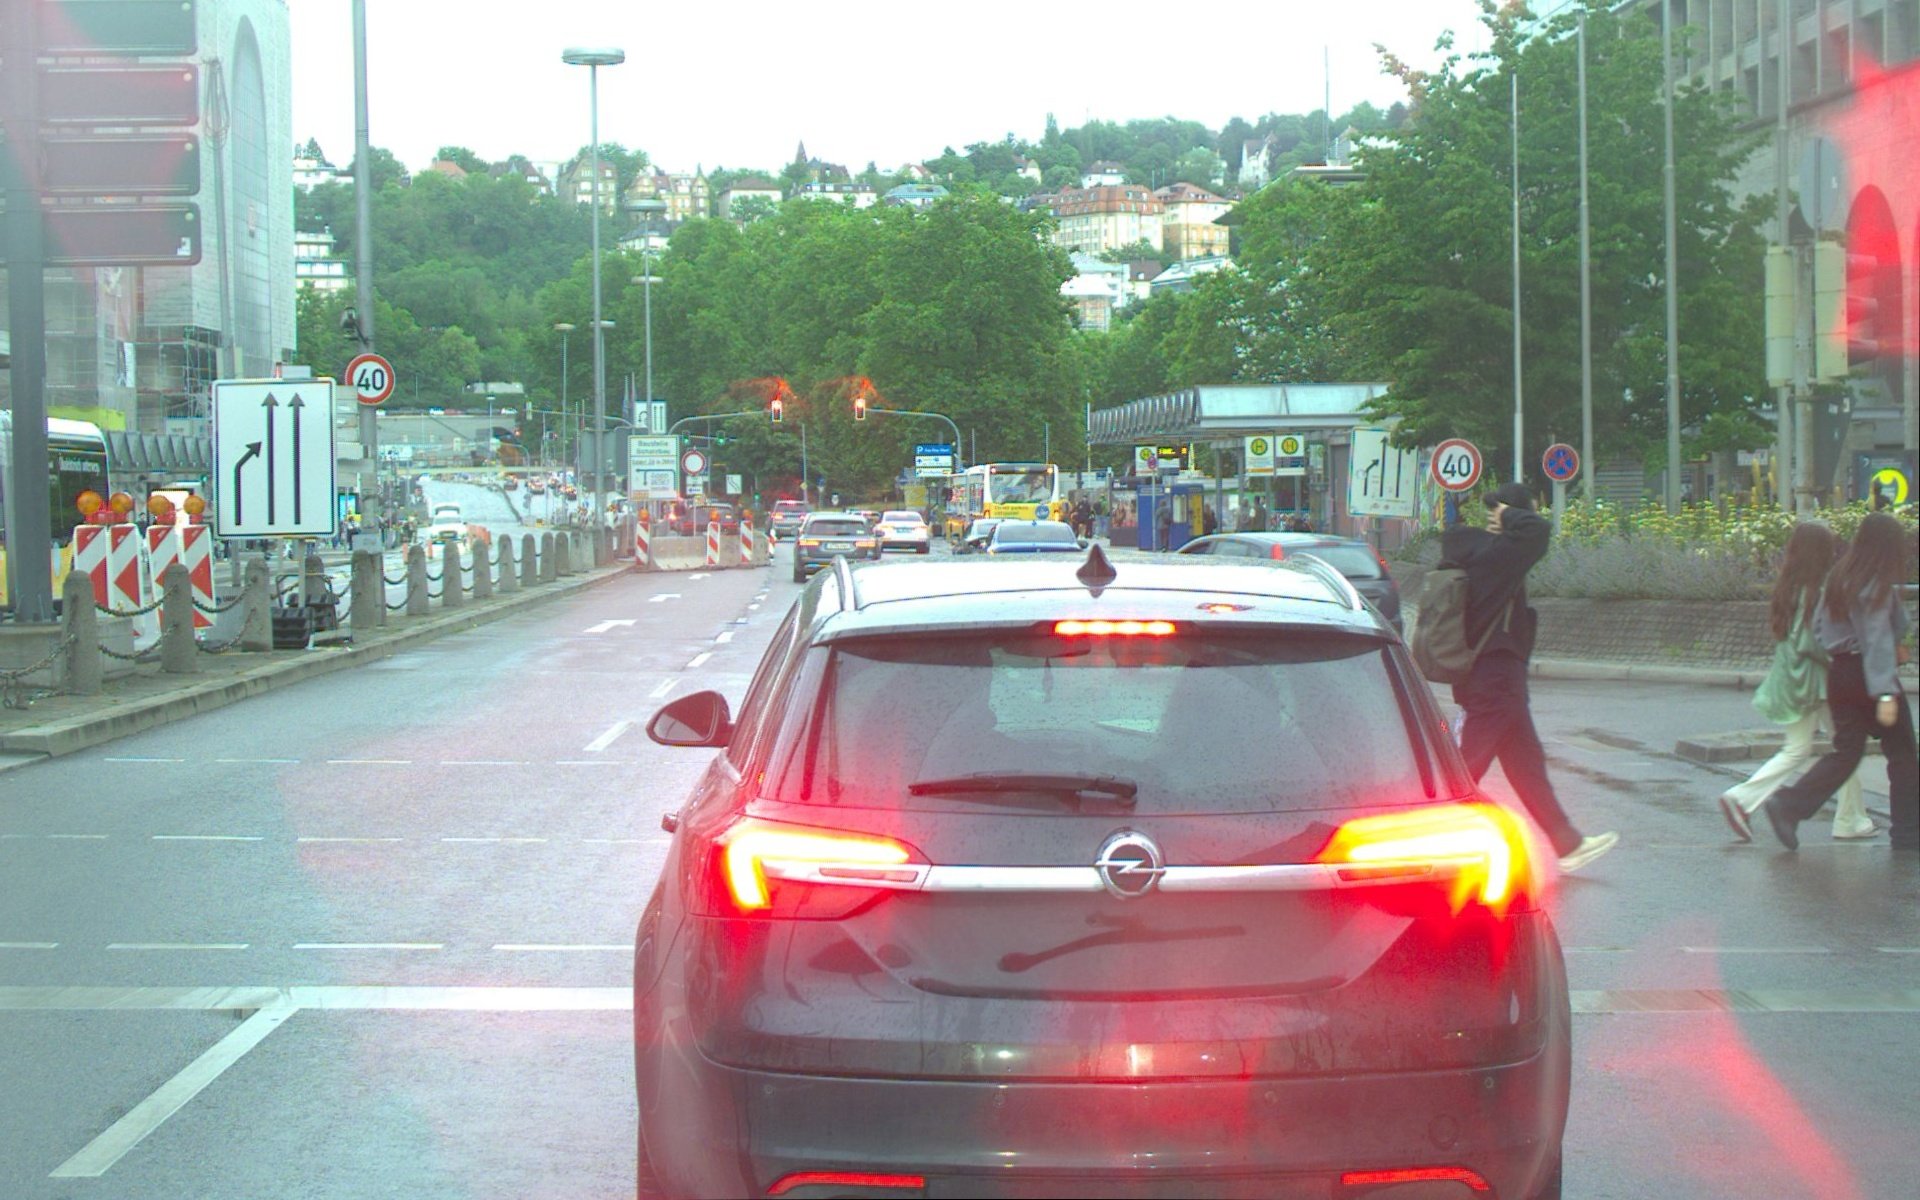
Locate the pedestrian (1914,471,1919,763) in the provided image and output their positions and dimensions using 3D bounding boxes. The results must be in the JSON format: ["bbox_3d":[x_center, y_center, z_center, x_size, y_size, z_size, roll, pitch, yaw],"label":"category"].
[{"bbox_3d":[6.018,0.105,20.004,0.755,1.712,0.466,1,1,-4],"label":"pedestrian"}]

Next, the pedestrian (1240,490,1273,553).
[{"bbox_3d":[8.130,-2.149,94.233,0.763,1.684,0.825,1,1,-5],"label":"pedestrian"}]

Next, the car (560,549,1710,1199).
[{"bbox_3d":[0.248,0.644,7.649,1.874,1.481,4.000,1,1,-1],"label":"car"}]

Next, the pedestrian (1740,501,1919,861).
[{"bbox_3d":[4.162,0.361,15.986,0.793,1.620,0.900,1,1,-4],"label":"pedestrian"}]

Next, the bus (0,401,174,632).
[{"bbox_3d":[-15.855,-1.383,58.536,2.668,3.589,10.212,1,1,-1],"label":"bus"}]

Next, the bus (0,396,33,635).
[{"bbox_3d":[-15.727,-1.248,48.351,2.668,3.589,10.240,1,1,-1],"label":"bus"}]

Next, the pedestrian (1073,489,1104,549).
[{"bbox_3d":[5.240,-3.296,140.177,1.199,2.427,1.228,1,1,1],"label":"pedestrian"}]

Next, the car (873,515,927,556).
[{"bbox_3d":[-2.083,-2.242,119.576,1.845,1.393,3.564,1,1,-1],"label":"car"}]

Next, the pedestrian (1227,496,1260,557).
[{"bbox_3d":[7.857,-2.035,95.367,0.763,1.684,0.825,1,1,-5],"label":"pedestrian"}]

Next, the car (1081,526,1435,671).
[{"bbox_3d":[2.968,-0.044,34.969,1.845,1.393,3.667,1,1,-29],"label":"car"}]

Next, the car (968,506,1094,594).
[{"bbox_3d":[1.157,-0.844,57.924,1.753,1.393,4.649,1,1,-3],"label":"car"}]

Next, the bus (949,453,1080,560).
[{"bbox_3d":[1.778,-3.188,120.877,4.173,3.457,14.655,1,1,-1],"label":"bus"}]

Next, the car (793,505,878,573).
[{"bbox_3d":[-2.667,-1.297,73.906,1.753,1.393,4.538,1,1,-2],"label":"car"}]

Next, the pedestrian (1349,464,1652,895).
[{"bbox_3d":[2.281,0.326,14.584,1.096,1.745,0.654,-2,1,-3],"label":"pedestrian"}]

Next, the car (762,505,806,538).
[{"bbox_3d":[-7.685,-3.416,149.970,1.759,1.393,3.564,1,1,-1],"label":"car"}]

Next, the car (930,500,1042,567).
[{"bbox_3d":[0.541,-1.437,75.085,1.752,1.393,4.403,1,1,-9],"label":"car"}]
